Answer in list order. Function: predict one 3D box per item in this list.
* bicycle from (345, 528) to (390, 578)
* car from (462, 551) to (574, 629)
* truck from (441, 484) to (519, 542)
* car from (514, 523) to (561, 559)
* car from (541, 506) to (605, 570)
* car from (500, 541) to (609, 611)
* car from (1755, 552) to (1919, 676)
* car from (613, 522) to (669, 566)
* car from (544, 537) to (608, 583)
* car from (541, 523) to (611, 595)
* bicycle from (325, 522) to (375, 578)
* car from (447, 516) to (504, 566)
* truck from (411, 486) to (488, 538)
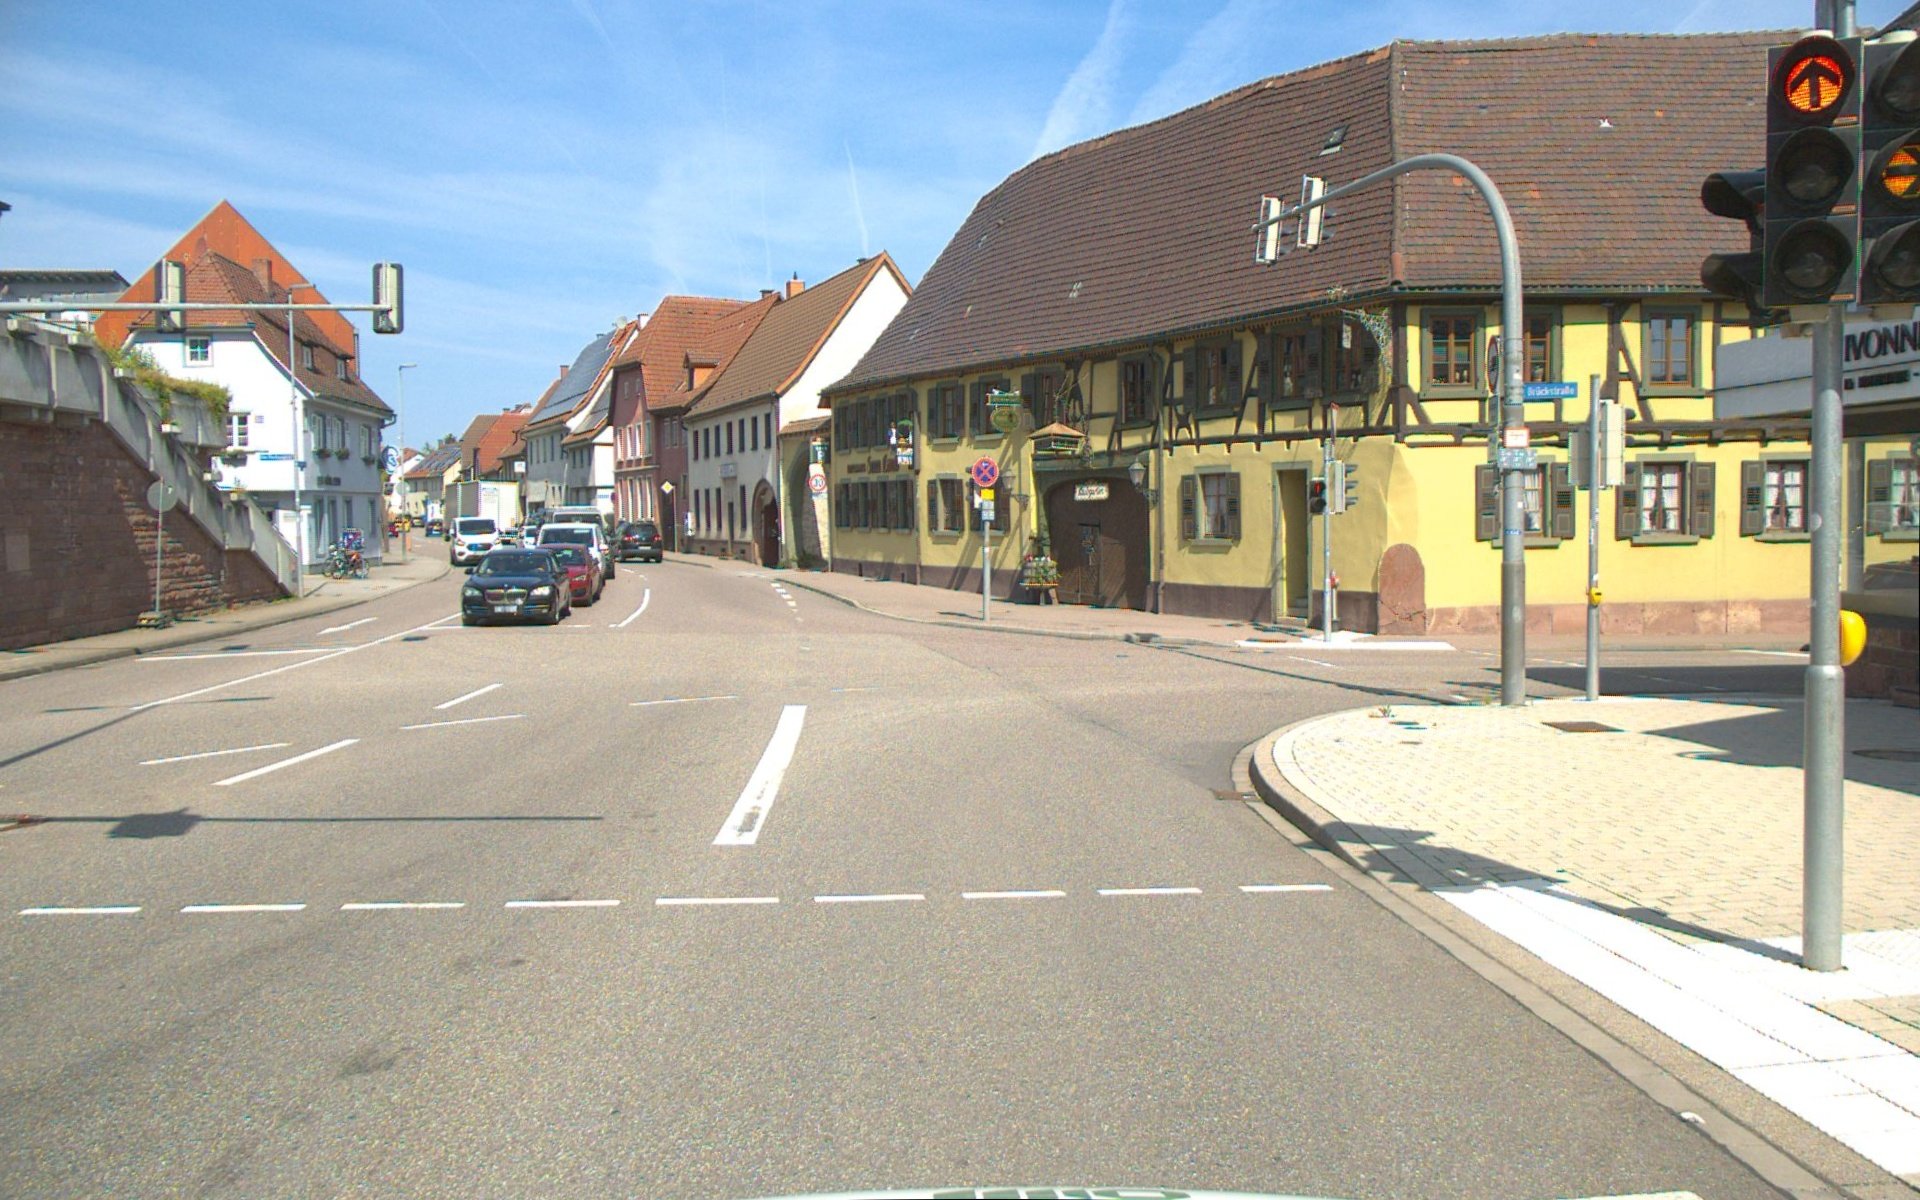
[{"bbox_3d":[-19.658,-1.569,54.919,0.546,1.635,2.563,2,2,1],"label":"bicycle"},{"bbox_3d":[-9.093,-0.261,34.318,1.787,1.459,4.241,-1,3,-9],"label":"car"},{"bbox_3d":[-32.052,-5.780,110.172,3.187,3.610,9.147,1,2,-28],"label":"truck"},{"bbox_3d":[-19.395,-2.731,75.897,1.758,1.552,3.985,-2,3,-18],"label":"car"},{"bbox_3d":[-14.573,-2.337,62.138,1.732,2.285,4.525,1,2,-21],"label":"car"},{"bbox_3d":[-10.058,-0.648,41.395,2.118,1.541,4.940,0,3,-8],"label":"car"},{"bbox_3d":[13.686,0.181,23.698,3.721,1.692,1.811,0,1,1],"label":"car"},{"bbox_3d":[-13.584,-2.406,70.223,1.793,1.768,3.985,-2,3,-19],"label":"car"},{"bbox_3d":[-12.650,-1.322,54.387,1.552,1.408,3.538,1,2,-21],"label":"car"},{"bbox_3d":[-11.102,-1.255,48.030,1.788,1.939,4.952,-1,3,-11],"label":"car"},{"bbox_3d":[-20.416,-1.673,55.382,0.628,1.810,2.671,2,2,1],"label":"bicycle"},{"bbox_3d":[-20.786,-2.535,70.854,2.104,2.000,5.251,-2,3,-18],"label":"car"},{"bbox_3d":[-36.766,-6.249,118.871,3.125,3.520,10.610,1,1,-29],"label":"truck"}]
